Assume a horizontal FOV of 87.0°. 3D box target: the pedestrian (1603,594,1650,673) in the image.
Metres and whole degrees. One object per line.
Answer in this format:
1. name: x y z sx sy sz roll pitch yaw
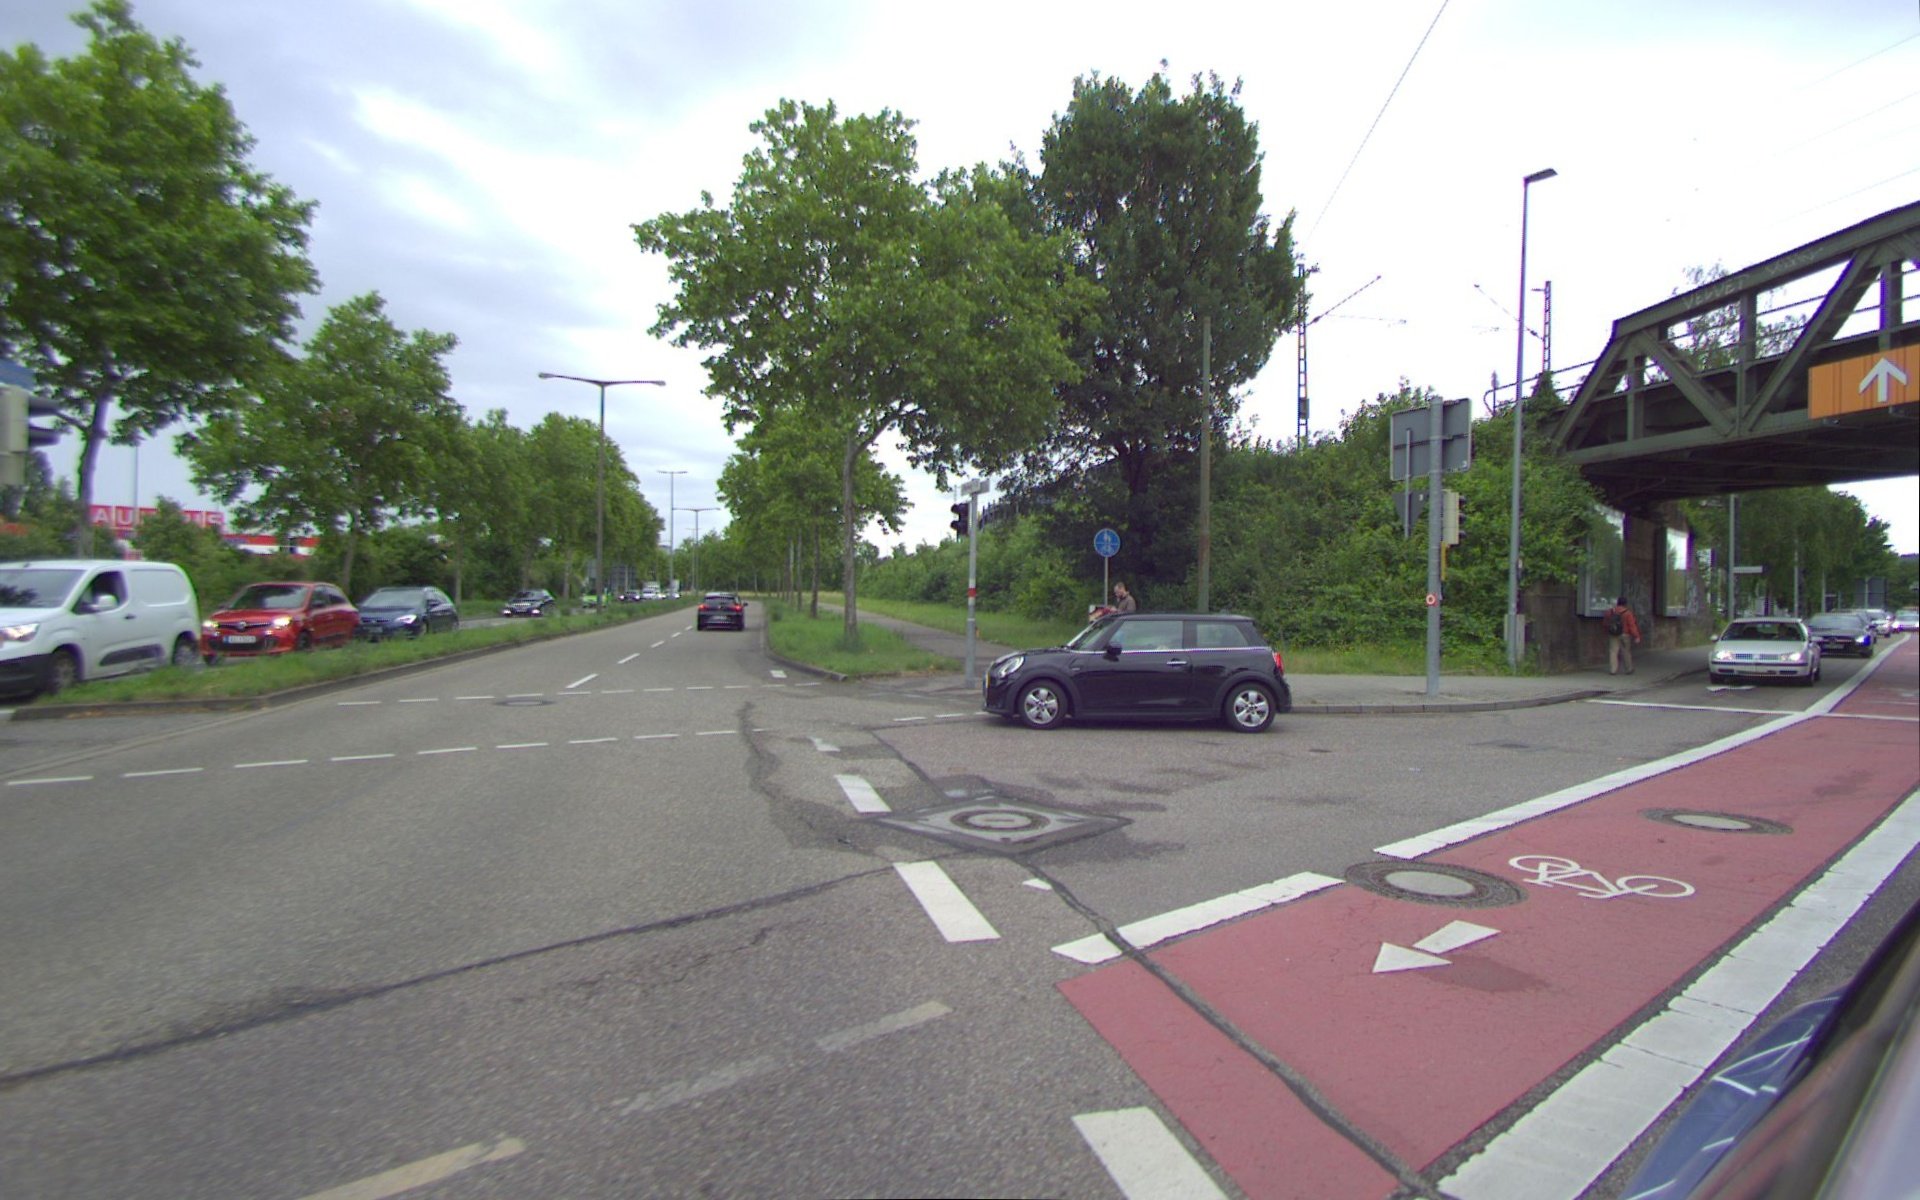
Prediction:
1. pedestrian: 15.403 0.750 23.390 0.869 1.782 0.777 0 0 37

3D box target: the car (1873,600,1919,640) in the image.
1. car: 41.321 0.847 44.277 1.779 1.668 3.944 1 0 39

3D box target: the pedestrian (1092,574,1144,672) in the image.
1. pedestrian: 2.731 0.382 17.546 0.764 1.661 0.744 0 0 -1

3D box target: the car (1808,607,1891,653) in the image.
1. car: 29.345 0.954 33.351 1.832 1.442 3.936 -1 -1 44

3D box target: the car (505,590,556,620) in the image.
1. car: -22.792 0.234 53.791 1.661 1.501 4.073 0 0 -11

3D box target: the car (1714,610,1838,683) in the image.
1. car: 17.931 0.956 22.182 1.722 1.442 3.877 -1 -1 45

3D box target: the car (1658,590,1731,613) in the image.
1. car: 56.892 0.159 78.431 1.936 1.622 4.299 1 -3 -44

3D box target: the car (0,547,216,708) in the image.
1. car: -12.198 0.311 13.620 1.841 1.851 4.430 -1 1 -12

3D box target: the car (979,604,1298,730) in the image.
1. car: 2.099 0.788 12.691 3.704 1.450 1.683 0 -1 2

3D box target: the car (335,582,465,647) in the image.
1. car: -13.997 0.327 25.529 1.661 1.501 4.073 0 0 -11

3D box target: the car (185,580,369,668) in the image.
1. car: -13.280 0.412 19.941 1.661 1.551 3.695 0 0 -11

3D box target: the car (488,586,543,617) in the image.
1. car: -23.736 0.115 54.148 1.748 1.552 4.005 -1 -1 -9

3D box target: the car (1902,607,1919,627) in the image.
1. car: 70.910 1.233 74.724 1.832 1.442 3.936 -1 -1 44

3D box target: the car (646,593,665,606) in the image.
1. car: -38.750 -0.065 128.888 1.748 1.552 4.005 -1 -1 -9

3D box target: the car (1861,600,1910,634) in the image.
1. car: 52.918 0.931 57.942 1.988 1.872 4.042 0 0 41

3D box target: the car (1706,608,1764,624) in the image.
1. car: 74.927 1.550 97.895 1.711 1.450 4.188 1 -3 -45

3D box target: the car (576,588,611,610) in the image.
1. car: -27.159 -0.071 75.122 1.748 1.552 4.005 -1 -1 -9

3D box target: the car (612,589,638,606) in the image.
1. car: -31.690 -0.239 95.859 1.748 1.552 4.005 -1 -1 -9

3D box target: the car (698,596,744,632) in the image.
1. car: -9.161 0.524 38.735 1.618 1.297 3.425 0 -1 -14

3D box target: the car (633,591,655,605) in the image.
1. car: -35.356 -0.216 113.405 1.748 1.552 4.005 -1 -1 -9
